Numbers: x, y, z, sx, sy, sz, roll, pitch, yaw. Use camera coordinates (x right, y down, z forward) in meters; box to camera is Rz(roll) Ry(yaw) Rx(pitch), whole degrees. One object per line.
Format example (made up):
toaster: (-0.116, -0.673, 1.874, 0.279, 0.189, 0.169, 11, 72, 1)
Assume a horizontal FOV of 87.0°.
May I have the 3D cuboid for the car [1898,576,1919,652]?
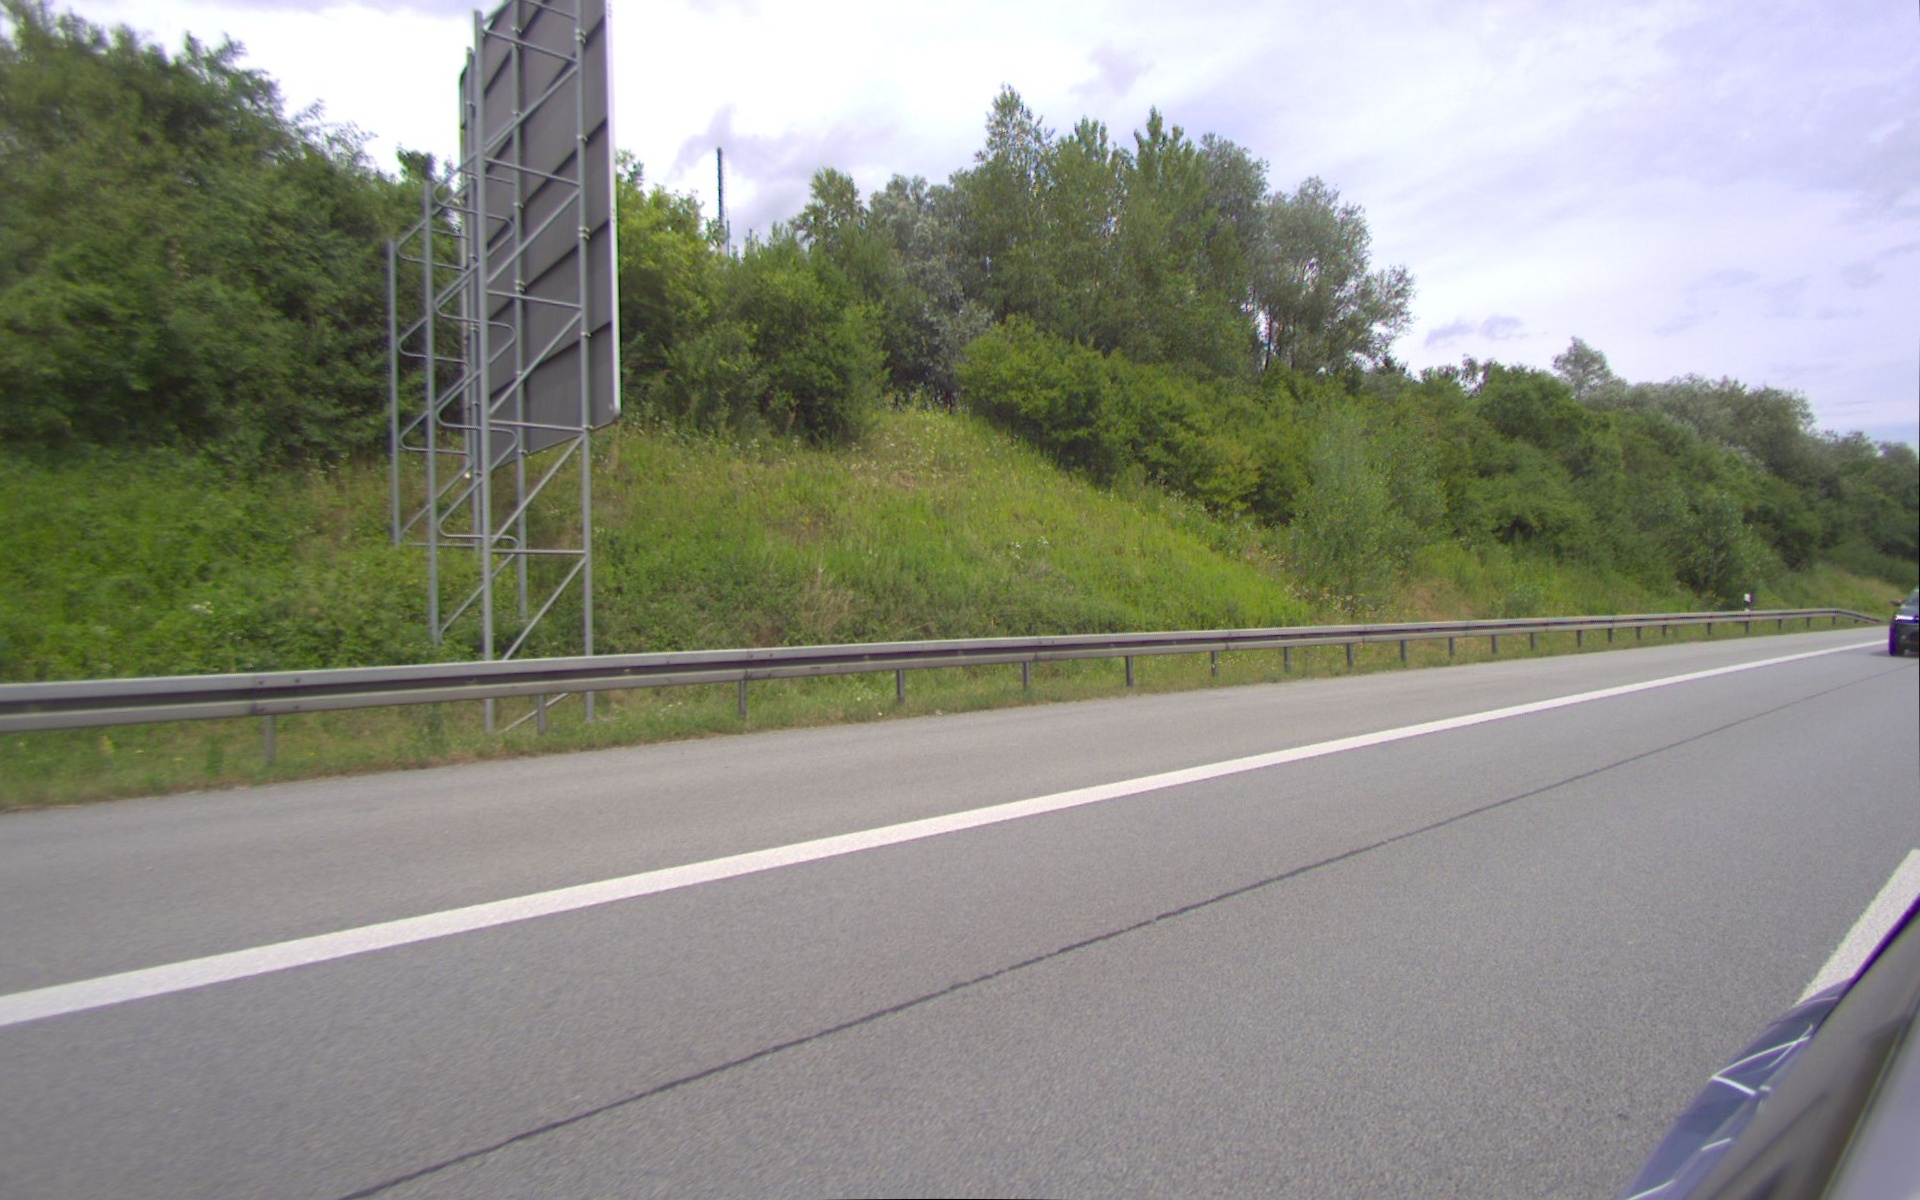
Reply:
car: (22.390, 0.301, 22.404, 3.929, 1.638, 1.889, -1, 2, -40)
